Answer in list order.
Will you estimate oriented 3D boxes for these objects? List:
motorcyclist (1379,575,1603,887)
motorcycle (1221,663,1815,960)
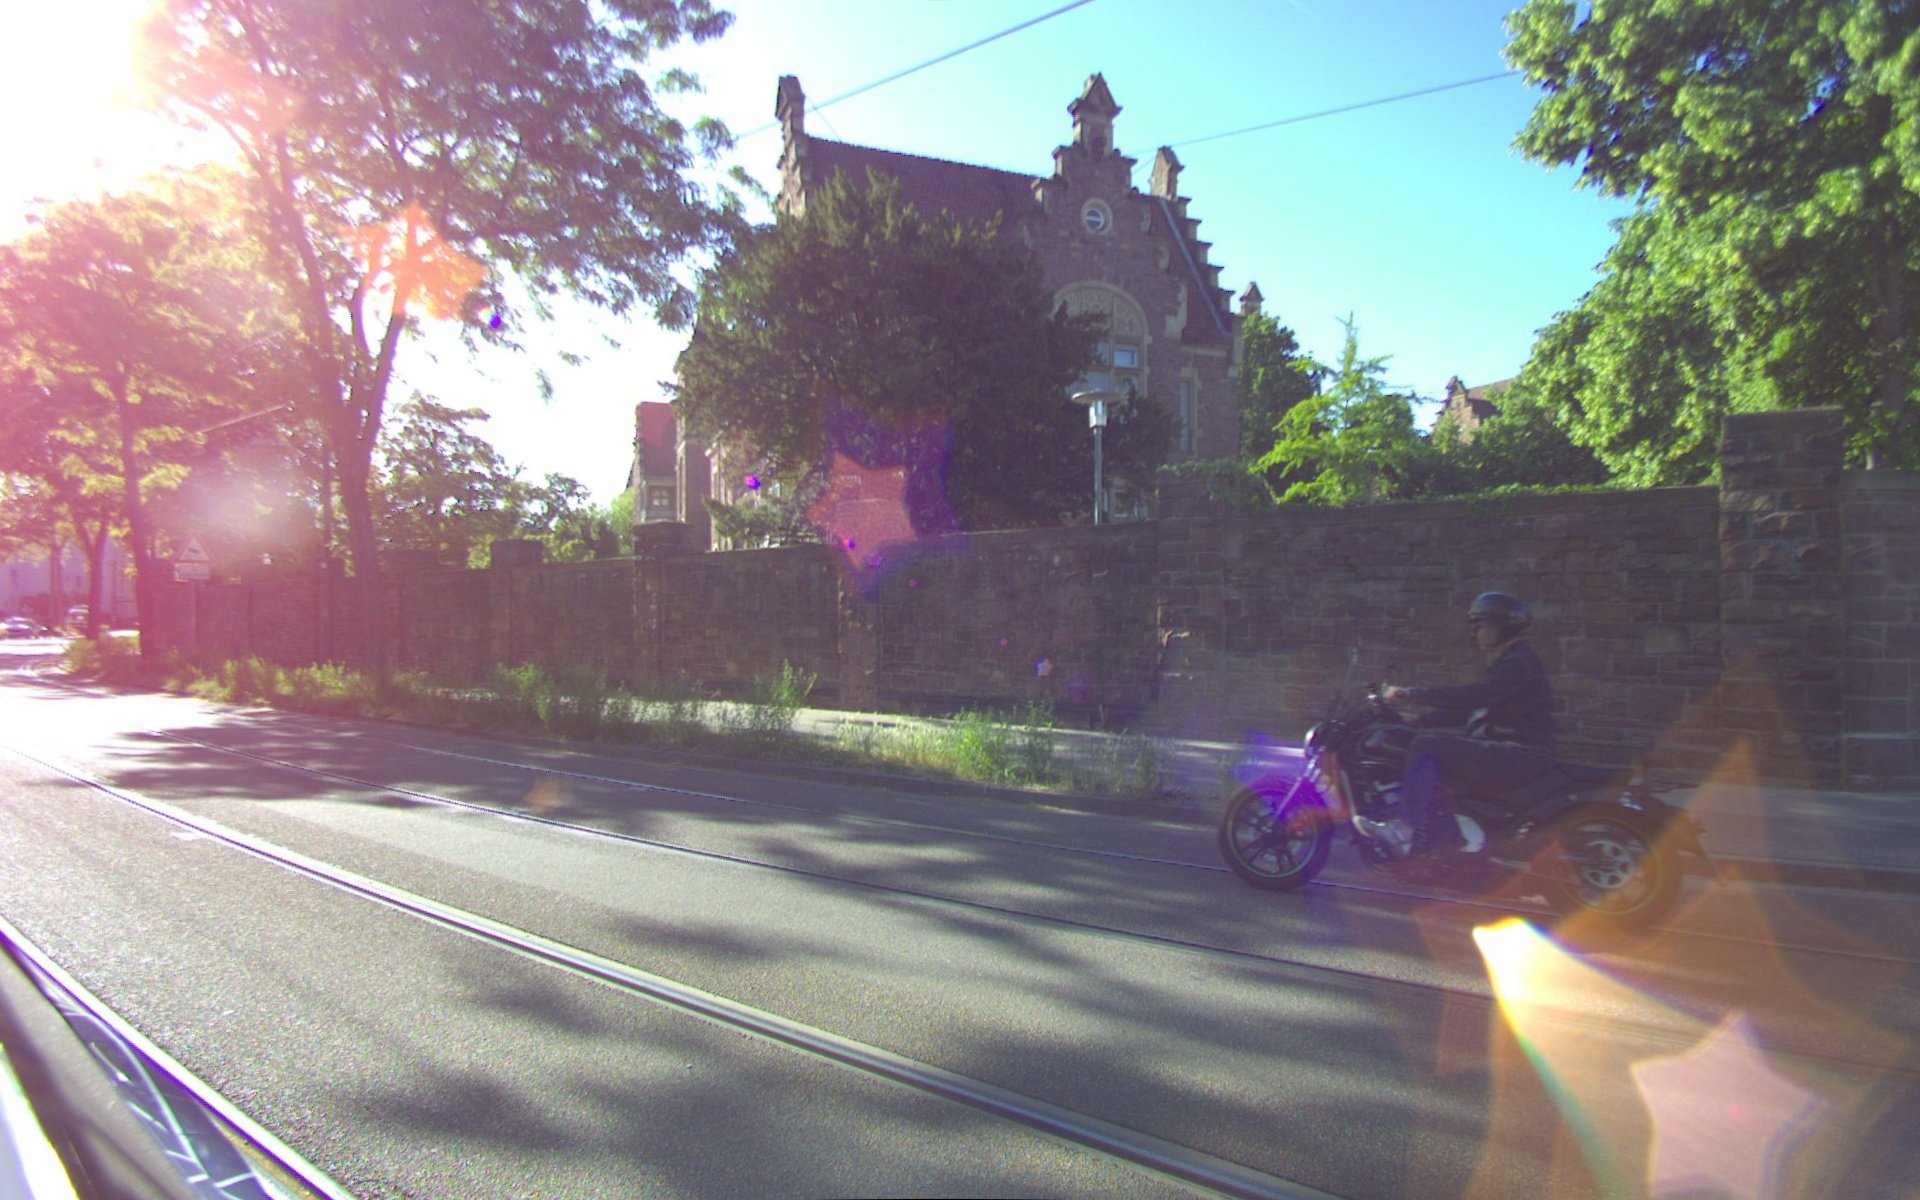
[{"bbox_3d":[2.646,0.597,5.138,0.903,1.393,0.884,-1,-1,25],"label":"motorcyclist"},{"bbox_3d":[2.643,0.936,5.146,2.415,1.162,0.906,-1,-1,26],"label":"motorcycle"}]
